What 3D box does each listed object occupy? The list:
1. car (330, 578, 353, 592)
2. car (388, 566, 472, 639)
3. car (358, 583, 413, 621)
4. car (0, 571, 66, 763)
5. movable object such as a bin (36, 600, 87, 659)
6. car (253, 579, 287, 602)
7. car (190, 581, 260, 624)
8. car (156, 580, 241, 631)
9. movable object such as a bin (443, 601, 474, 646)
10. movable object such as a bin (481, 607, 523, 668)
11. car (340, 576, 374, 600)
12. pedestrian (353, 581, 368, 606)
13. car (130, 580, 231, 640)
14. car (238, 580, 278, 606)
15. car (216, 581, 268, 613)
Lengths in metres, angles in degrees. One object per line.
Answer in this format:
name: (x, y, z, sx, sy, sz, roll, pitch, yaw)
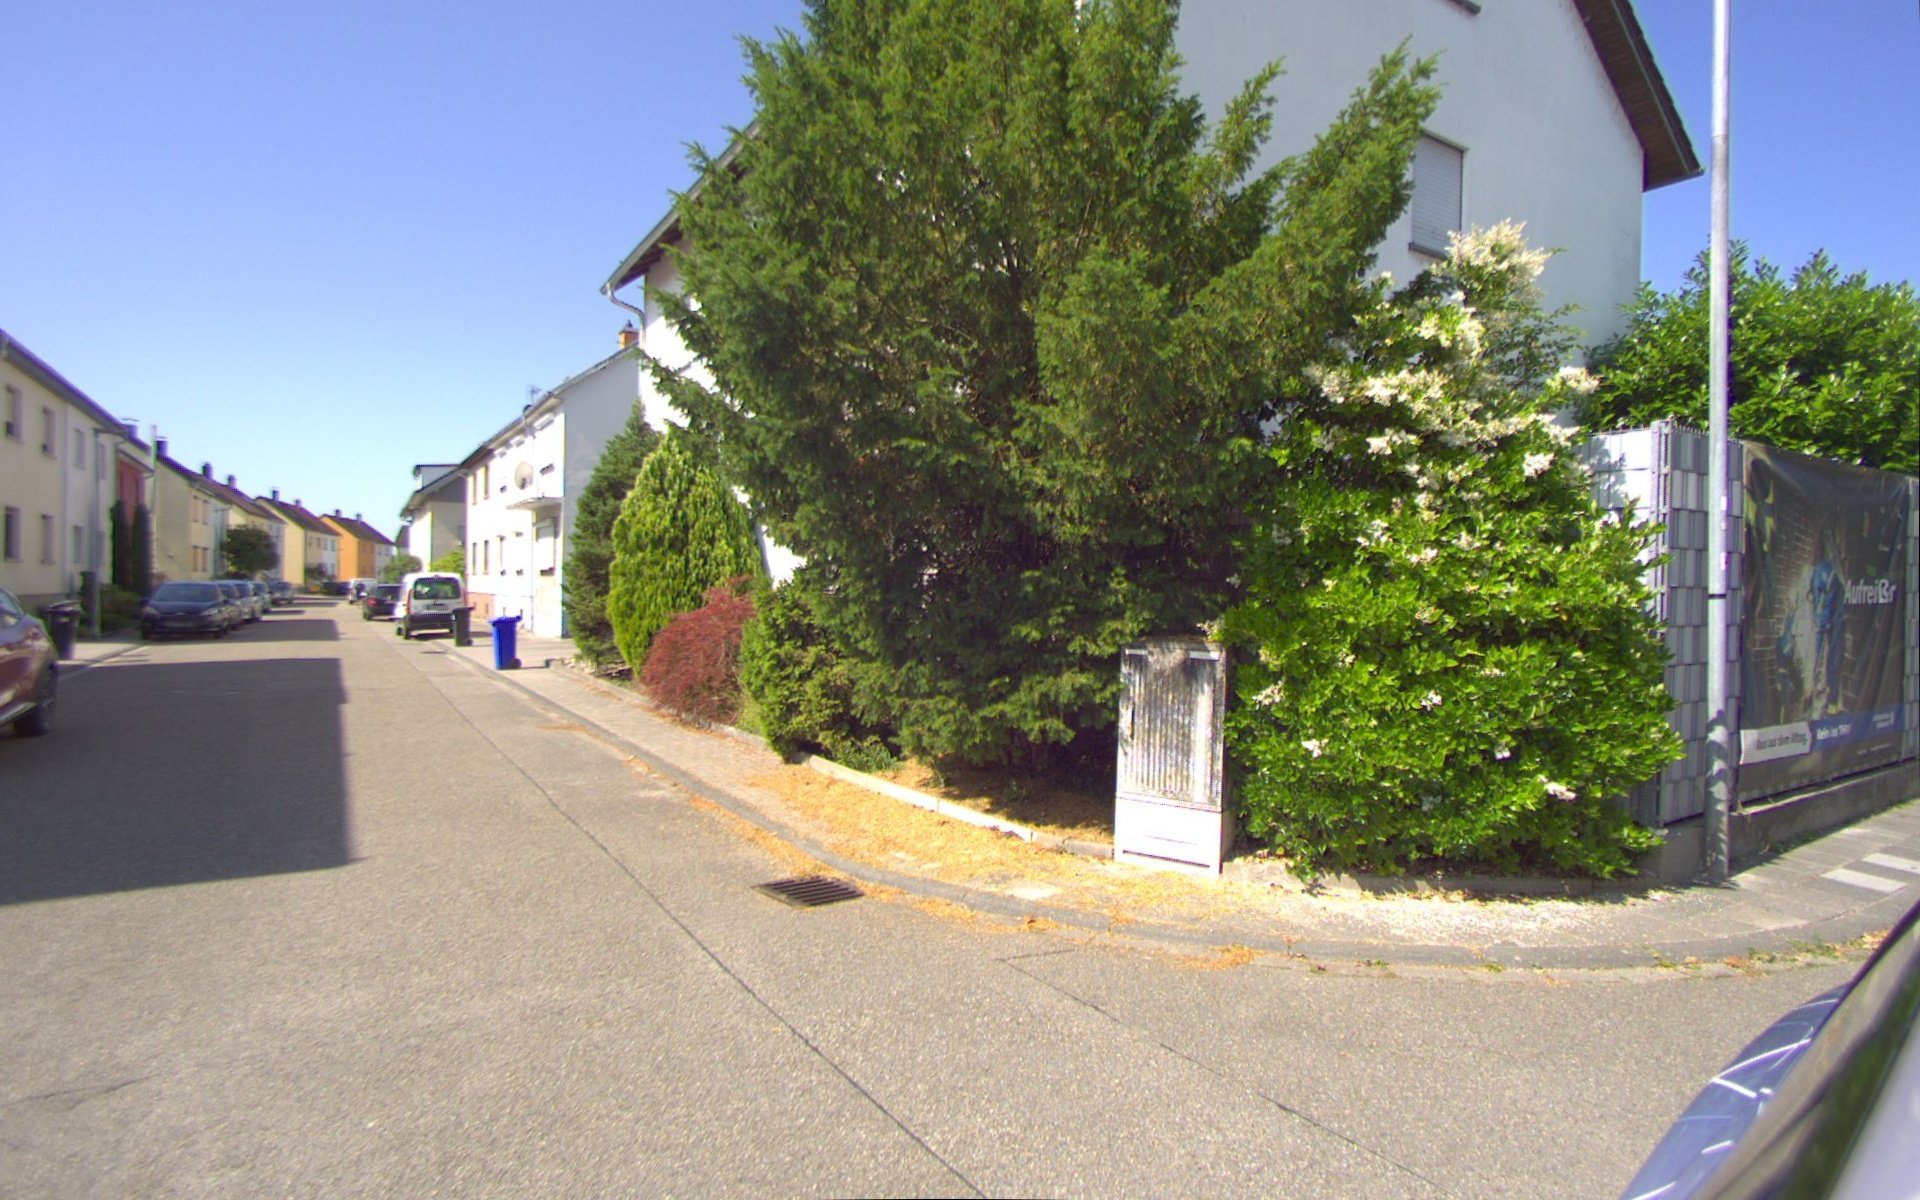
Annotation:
car: (-64.388, -1.537, 105.432, 1.760, 1.428, 4.005, 0, 1, -27)
car: (-14.967, 0.020, 28.486, 1.761, 1.860, 4.003, -2, 2, -32)
car: (-23.055, 0.034, 40.551, 1.761, 1.399, 4.003, -2, 2, -32)
car: (-8.782, 0.529, 8.156, 1.762, 1.549, 4.002, 0, 1, -33)
movable object such as a bin: (-16.354, 0.527, 18.435, 0.592, 1.043, 0.563, 1, 0, -32)
car: (-45.887, -0.637, 67.355, 1.762, 1.428, 4.002, 0, 1, -33)
car: (-25.935, 0.057, 35.803, 1.762, 1.428, 4.002, 0, 1, -33)
car: (-23.205, 0.112, 30.960, 1.762, 1.428, 4.002, 0, 1, -33)
movable object such as a bin: (-11.934, 0.562, 24.090, 0.592, 1.043, 0.596, 1, 0, -32)
movable object such as a bin: (-8.047, 0.642, 17.773, 0.592, 1.043, 0.596, 1, 0, -32)
car: (-40.868, -0.832, 68.565, 1.894, 1.552, 4.003, -2, 2, -32)
pedestrian: (-33.948, -0.365, 57.324, 0.643, 1.399, 0.627, -2, 1, -35)
car: (-20.433, 0.206, 26.656, 1.762, 1.428, 4.002, 0, 1, -33)
car: (-40.806, -0.443, 58.860, 1.762, 1.428, 4.002, 0, 1, -33)
car: (-33.479, -0.167, 47.258, 1.762, 1.428, 4.002, 0, 1, -33)
